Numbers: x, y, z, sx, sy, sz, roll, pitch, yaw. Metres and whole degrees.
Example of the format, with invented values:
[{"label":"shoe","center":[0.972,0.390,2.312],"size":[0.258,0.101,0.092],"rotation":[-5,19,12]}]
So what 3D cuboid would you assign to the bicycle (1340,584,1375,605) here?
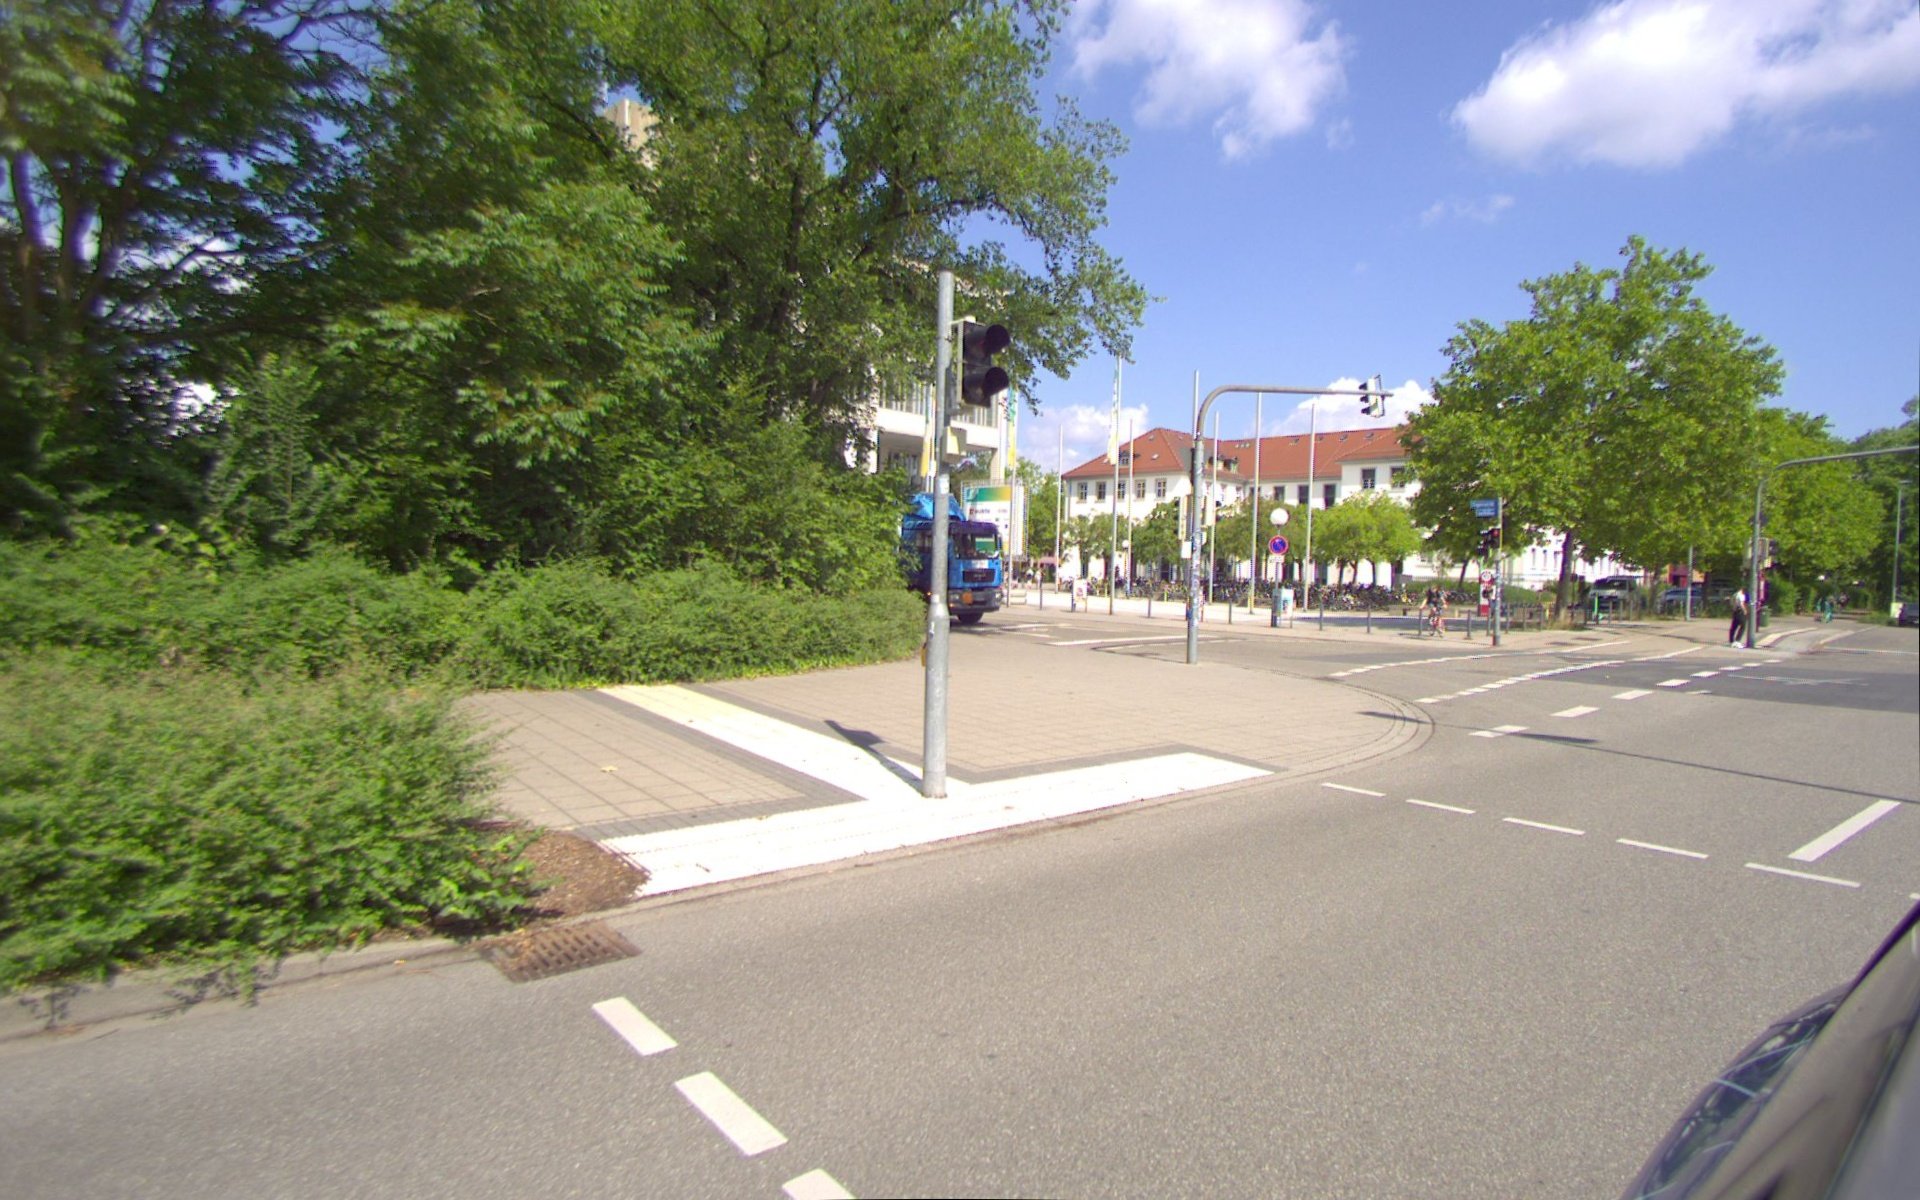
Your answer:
[{"label":"bicycle","center":[22.111,-0.312,56.320],"size":[1.667,1.110,0.617],"rotation":[3,2,42]}]

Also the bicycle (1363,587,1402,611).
[{"label":"bicycle","center":[21.389,-0.060,51.257],"size":[1.667,1.110,0.617],"rotation":[3,2,42]}]

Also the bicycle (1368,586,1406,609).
[{"label":"bicycle","center":[21.985,-0.122,52.136],"size":[1.667,1.110,0.617],"rotation":[3,2,42]}]

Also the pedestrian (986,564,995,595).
[{"label":"pedestrian","center":[1.859,-1.257,61.632],"size":[0.432,1.829,0.486],"rotation":[1,1,-14]}]

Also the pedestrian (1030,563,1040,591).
[{"label":"pedestrian","center":[4.979,-1.528,67.138],"size":[0.503,1.870,0.535],"rotation":[1,1,-11]}]

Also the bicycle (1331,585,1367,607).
[{"label":"bicycle","center":[20.905,-0.225,54.446],"size":[1.667,1.110,0.617],"rotation":[3,2,42]}]

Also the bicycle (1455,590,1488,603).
[{"label":"bicycle","center":[30.970,-0.235,61.317],"size":[1.667,0.743,0.617],"rotation":[3,2,42]}]

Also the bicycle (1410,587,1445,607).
[{"label":"bicycle","center":[26.099,-0.183,56.515],"size":[1.667,1.040,0.617],"rotation":[3,2,42]}]

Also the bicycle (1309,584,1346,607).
[{"label":"bicycle","center":[18.924,-0.242,52.103],"size":[1.667,1.110,0.617],"rotation":[3,2,42]}]

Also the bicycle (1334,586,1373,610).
[{"label":"bicycle","center":[19.225,-0.114,49.490],"size":[1.667,1.110,0.617],"rotation":[3,2,42]}]

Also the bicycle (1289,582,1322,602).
[{"label":"bicycle","center":[19.907,-0.468,58.391],"size":[1.667,1.110,0.617],"rotation":[3,2,42]}]

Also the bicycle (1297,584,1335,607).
[{"label":"bicycle","center":[17.949,-0.244,51.011],"size":[1.667,1.110,0.617],"rotation":[3,2,42]}]

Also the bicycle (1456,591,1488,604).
[{"label":"bicycle","center":[31.768,-0.147,62.790],"size":[1.667,0.743,0.617],"rotation":[3,2,42]}]

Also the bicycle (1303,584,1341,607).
[{"label":"bicycle","center":[18.437,-0.239,51.558],"size":[1.667,1.110,0.617],"rotation":[3,2,42]}]

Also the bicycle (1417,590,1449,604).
[{"label":"bicycle","center":[29.206,-0.173,62.508],"size":[1.666,0.800,0.618],"rotation":[3,2,41]}]

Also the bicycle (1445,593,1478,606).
[{"label":"bicycle","center":[30.103,-0.029,60.714],"size":[1.667,0.743,0.617],"rotation":[3,2,42]}]

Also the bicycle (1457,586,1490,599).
[{"label":"bicycle","center":[31.515,-0.485,62.120],"size":[1.667,0.743,0.617],"rotation":[3,2,42]}]

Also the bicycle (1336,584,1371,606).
[{"label":"bicycle","center":[21.374,-0.276,55.023],"size":[1.667,1.110,0.617],"rotation":[3,2,42]}]

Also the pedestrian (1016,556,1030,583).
[{"label":"pedestrian","center":[4.402,-2.143,70.799],"size":[0.690,1.870,0.635],"rotation":[2,1,36]}]

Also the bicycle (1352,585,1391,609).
[{"label":"bicycle","center":[20.381,-0.157,50.169],"size":[1.667,1.110,0.617],"rotation":[3,2,42]}]

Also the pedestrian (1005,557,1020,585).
[{"label":"pedestrian","center":[3.560,-1.985,68.791],"size":[0.787,1.870,0.696],"rotation":[1,1,-17]}]

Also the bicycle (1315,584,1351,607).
[{"label":"bicycle","center":[19.389,-0.245,52.624],"size":[1.667,1.110,0.617],"rotation":[3,2,42]}]

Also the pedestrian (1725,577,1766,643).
[{"label":"pedestrian","center":[23.195,0.276,29.881],"size":[0.926,1.847,0.701],"rotation":[0,5,-43]}]

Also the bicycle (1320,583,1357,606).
[{"label":"bicycle","center":[19.875,-0.291,53.170],"size":[1.667,1.110,0.617],"rotation":[3,2,42]}]

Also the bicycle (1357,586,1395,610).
[{"label":"bicycle","center":[20.824,-0.095,50.672],"size":[1.667,1.110,0.617],"rotation":[3,2,42]}]

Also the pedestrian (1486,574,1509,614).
[{"label":"pedestrian","center":[23.226,-0.260,43.725],"size":[0.629,1.670,0.740],"rotation":[2,1,12]}]

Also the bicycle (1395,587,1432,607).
[{"label":"bicycle","center":[24.303,-0.169,54.268],"size":[1.667,0.984,0.617],"rotation":[3,2,42]}]

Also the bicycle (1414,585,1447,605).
[{"label":"bicycle","center":[28.220,-0.317,60.767],"size":[1.667,1.110,0.617],"rotation":[3,2,42]}]

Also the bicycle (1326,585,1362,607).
[{"label":"bicycle","center":[20.376,-0.224,53.732],"size":[1.667,1.110,0.617],"rotation":[3,2,42]}]

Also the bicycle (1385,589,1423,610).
[{"label":"bicycle","center":[23.384,-0.041,53.307],"size":[1.667,1.048,0.617],"rotation":[3,2,42]}]

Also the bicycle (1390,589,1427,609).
[{"label":"bicycle","center":[23.832,-0.057,53.815],"size":[1.667,0.997,0.617],"rotation":[3,2,42]}]

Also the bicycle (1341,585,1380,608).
[{"label":"bicycle","center":[19.739,-0.177,49.886],"size":[1.667,1.110,0.617],"rotation":[3,2,42]}]

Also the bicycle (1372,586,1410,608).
[{"label":"bicycle","center":[22.407,-0.153,52.659],"size":[1.667,1.110,0.617],"rotation":[3,2,42]}]

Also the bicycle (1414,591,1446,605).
[{"label":"bicycle","center":[28.762,-0.140,61.992],"size":[1.666,0.800,0.618],"rotation":[3,2,41]}]

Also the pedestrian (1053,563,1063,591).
[{"label":"pedestrian","center":[6.626,-1.536,68.661],"size":[0.503,1.870,0.535],"rotation":[1,1,-11]}]
